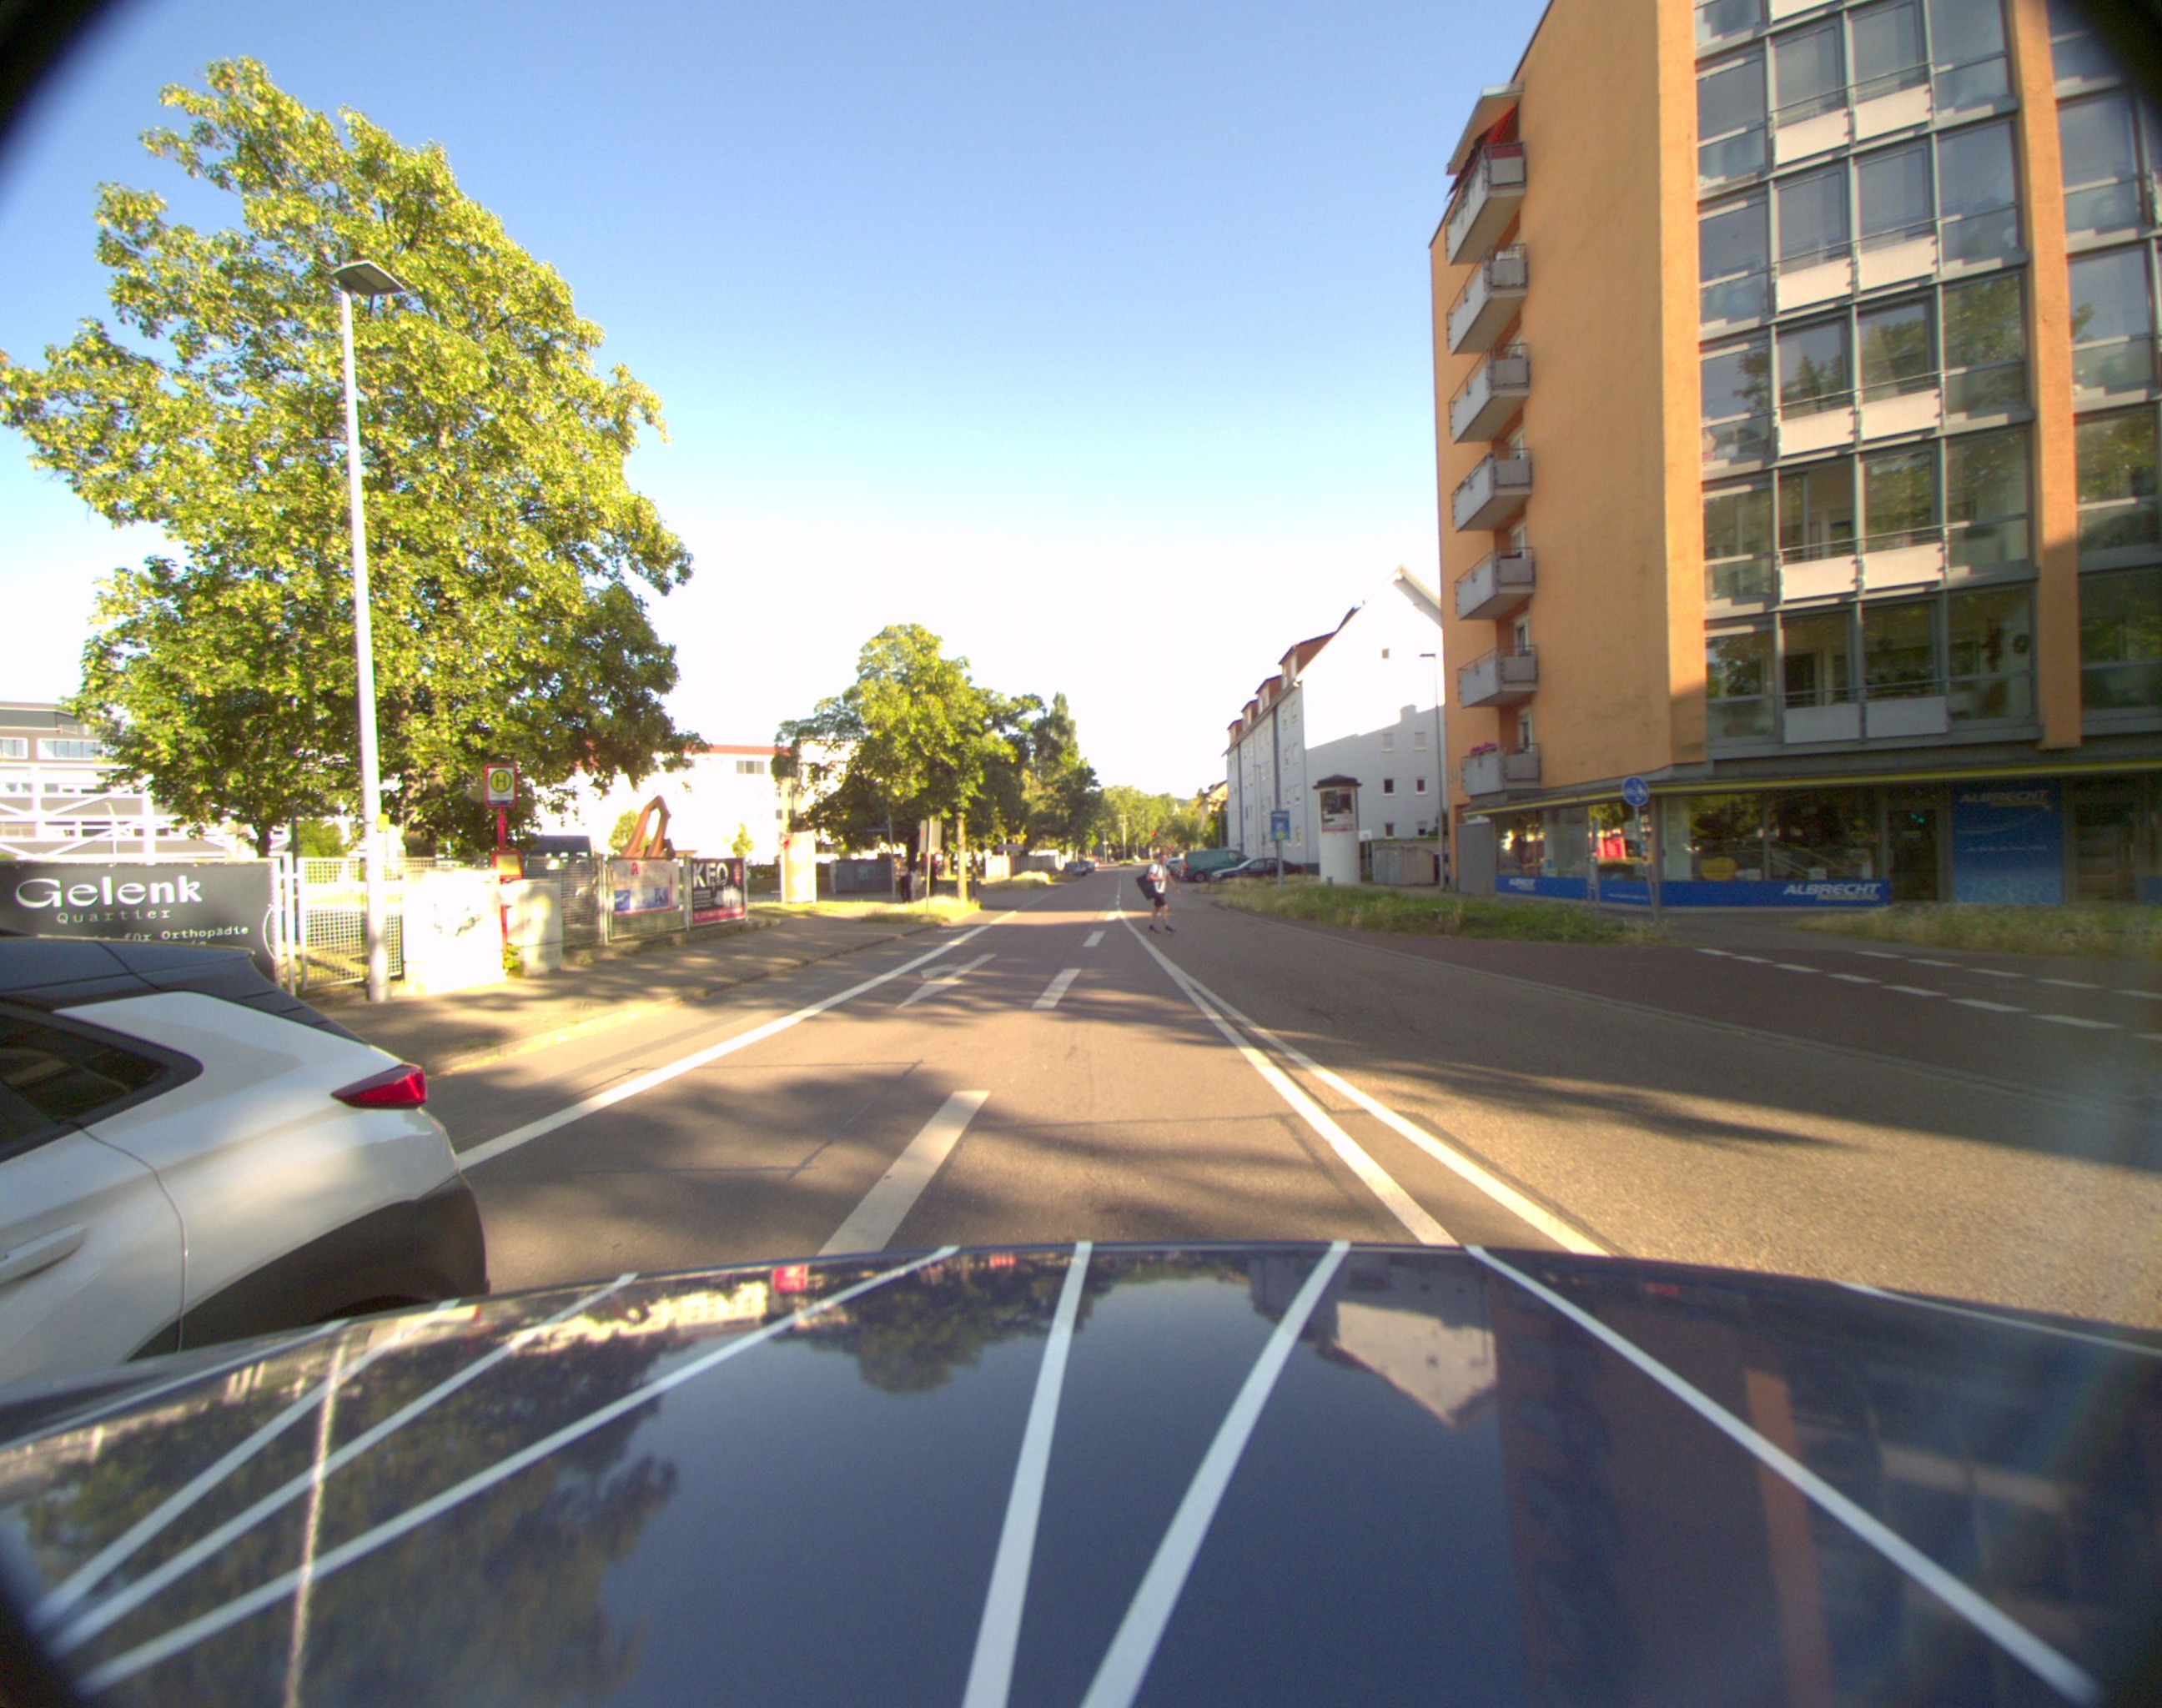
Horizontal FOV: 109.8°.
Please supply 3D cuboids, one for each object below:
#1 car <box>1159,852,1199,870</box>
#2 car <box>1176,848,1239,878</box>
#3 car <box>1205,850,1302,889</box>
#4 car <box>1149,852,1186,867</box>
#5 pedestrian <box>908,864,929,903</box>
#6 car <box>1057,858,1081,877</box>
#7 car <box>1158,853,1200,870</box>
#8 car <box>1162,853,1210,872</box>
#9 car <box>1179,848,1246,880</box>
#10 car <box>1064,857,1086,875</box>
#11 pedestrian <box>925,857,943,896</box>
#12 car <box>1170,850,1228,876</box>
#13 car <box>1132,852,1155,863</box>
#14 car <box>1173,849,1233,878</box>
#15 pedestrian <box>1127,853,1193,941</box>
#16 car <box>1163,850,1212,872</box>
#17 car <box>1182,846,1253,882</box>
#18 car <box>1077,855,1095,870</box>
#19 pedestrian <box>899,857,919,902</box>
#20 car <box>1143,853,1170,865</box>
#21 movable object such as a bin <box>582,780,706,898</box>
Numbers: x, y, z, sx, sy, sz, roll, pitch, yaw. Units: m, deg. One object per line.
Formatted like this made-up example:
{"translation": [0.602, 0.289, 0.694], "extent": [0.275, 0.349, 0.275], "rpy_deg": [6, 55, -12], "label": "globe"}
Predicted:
{"translation": [10.250, 0.720, 80.065], "extent": [4.071, 1.741, 1.899], "rpy_deg": [-2, 1, 5], "label": "car"}
{"translation": [8.493, 0.583, 51.341], "extent": [3.995, 1.805, 2.000], "rpy_deg": [-2, 1, 5], "label": "car"}
{"translation": [8.291, 0.728, 36.872], "extent": [4.423, 1.652, 2.001], "rpy_deg": [-2, 1, 9], "label": "car"}
{"translation": [10.213, 0.640, 90.188], "extent": [4.257, 1.564, 1.867], "rpy_deg": [-2, 1, 5], "label": "car"}
{"translation": [-6.202, 1.130, 29.061], "extent": [0.609, 1.426, 0.639], "rpy_deg": [-2, 1, 1], "label": "pedestrian"}
{"translation": [-1.098, 1.214, 69.593], "extent": [1.998, 1.521, 3.999], "rpy_deg": [-2, 1, 1], "label": "car"}
{"translation": [10.298, 0.751, 79.930], "extent": [4.257, 1.564, 1.867], "rpy_deg": [-2, 1, 5], "label": "car"}
{"translation": [9.560, 0.769, 69.373], "extent": [4.257, 1.564, 1.867], "rpy_deg": [-2, 1, 5], "label": "car"}
{"translation": [8.349, 0.619, 48.585], "extent": [3.995, 1.805, 2.000], "rpy_deg": [-2, 1, 5], "label": "car"}
{"translation": [-0.596, 1.146, 73.941], "extent": [1.998, 1.521, 3.999], "rpy_deg": [-2, 1, 1], "label": "car"}
{"translation": [-6.491, 0.992, 33.465], "extent": [0.696, 1.659, 0.638], "rpy_deg": [-2, 1, -11], "label": "pedestrian"}
{"translation": [8.740, 0.658, 56.436], "extent": [4.071, 1.741, 1.899], "rpy_deg": [-2, 1, 5], "label": "car"}
{"translation": [9.691, 0.583, 118.221], "extent": [3.538, 1.564, 1.867], "rpy_deg": [-2, 1, 5], "label": "car"}
{"translation": [8.563, 0.664, 53.692], "extent": [4.059, 1.805, 1.937], "rpy_deg": [-2, 1, 5], "label": "car"}
{"translation": [1.633, 0.858, 15.860], "extent": [0.903, 1.727, 1.086], "rpy_deg": [-3, 1, -21], "label": "pedestrian"}
{"translation": [9.266, 0.604, 66.486], "extent": [4.117, 1.762, 1.757], "rpy_deg": [-2, 1, 5], "label": "car"}
{"translation": [8.187, 0.590, 45.937], "extent": [3.996, 1.936, 2.000], "rpy_deg": [-2, 1, 4], "label": "car"}
{"translation": [0.559, 0.945, 87.974], "extent": [1.998, 1.521, 3.999], "rpy_deg": [-2, 1, 1], "label": "car"}
{"translation": [-6.738, 0.983, 29.703], "extent": [0.609, 1.727, 0.638], "rpy_deg": [-2, 1, -5], "label": "pedestrian"}
{"translation": [10.456, 0.698, 105.241], "extent": [3.538, 1.564, 1.867], "rpy_deg": [-2, 1, 5], "label": "car"}
{"translation": [-22.235, -0.705, 38.546], "extent": [3.986, 5.447, 6.016], "rpy_deg": [-3, 1, -42], "label": "movable object such as a bin"}
